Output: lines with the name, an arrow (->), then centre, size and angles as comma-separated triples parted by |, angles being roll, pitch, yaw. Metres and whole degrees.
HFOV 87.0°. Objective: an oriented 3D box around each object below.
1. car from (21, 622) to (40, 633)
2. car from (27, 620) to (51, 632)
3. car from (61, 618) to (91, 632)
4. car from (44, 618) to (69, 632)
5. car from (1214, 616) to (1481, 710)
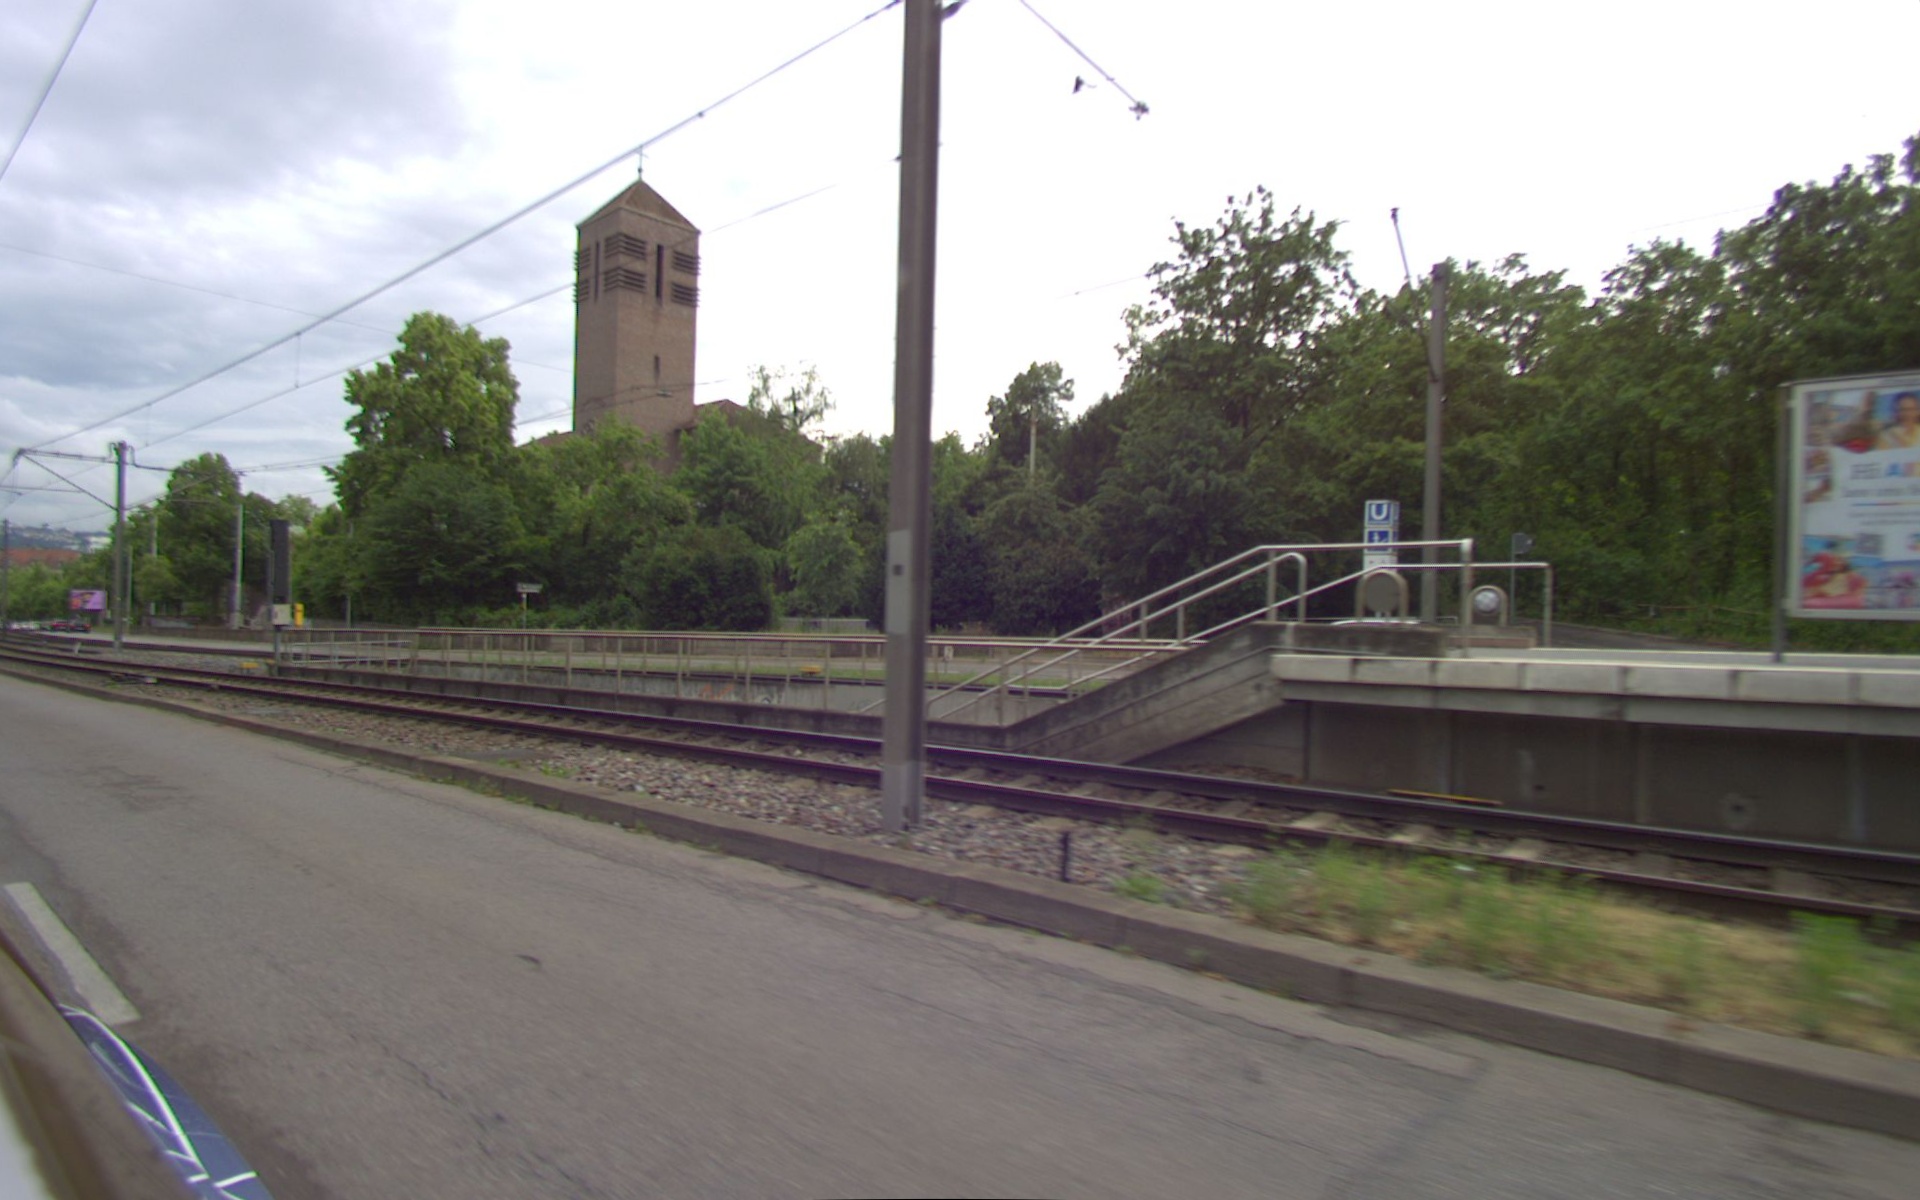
car -> -139.409, 4.122, 151.788 | 3.984, 1.479, 1.728 | -2, -5, 42
car -> -126.720, 3.576, 139.235 | 4.411, 1.656, 1.972 | -1, -3, 43
car -> -96.653, 2.731, 110.645 | 4.320, 1.452, 1.944 | -1, -3, 41
car -> -115.117, 3.210, 128.931 | 4.524, 1.656, 1.972 | -1, -3, 43
car -> 7.499, 1.135, 19.803 | 4.511, 1.636, 1.975 | -1, -1, 38
